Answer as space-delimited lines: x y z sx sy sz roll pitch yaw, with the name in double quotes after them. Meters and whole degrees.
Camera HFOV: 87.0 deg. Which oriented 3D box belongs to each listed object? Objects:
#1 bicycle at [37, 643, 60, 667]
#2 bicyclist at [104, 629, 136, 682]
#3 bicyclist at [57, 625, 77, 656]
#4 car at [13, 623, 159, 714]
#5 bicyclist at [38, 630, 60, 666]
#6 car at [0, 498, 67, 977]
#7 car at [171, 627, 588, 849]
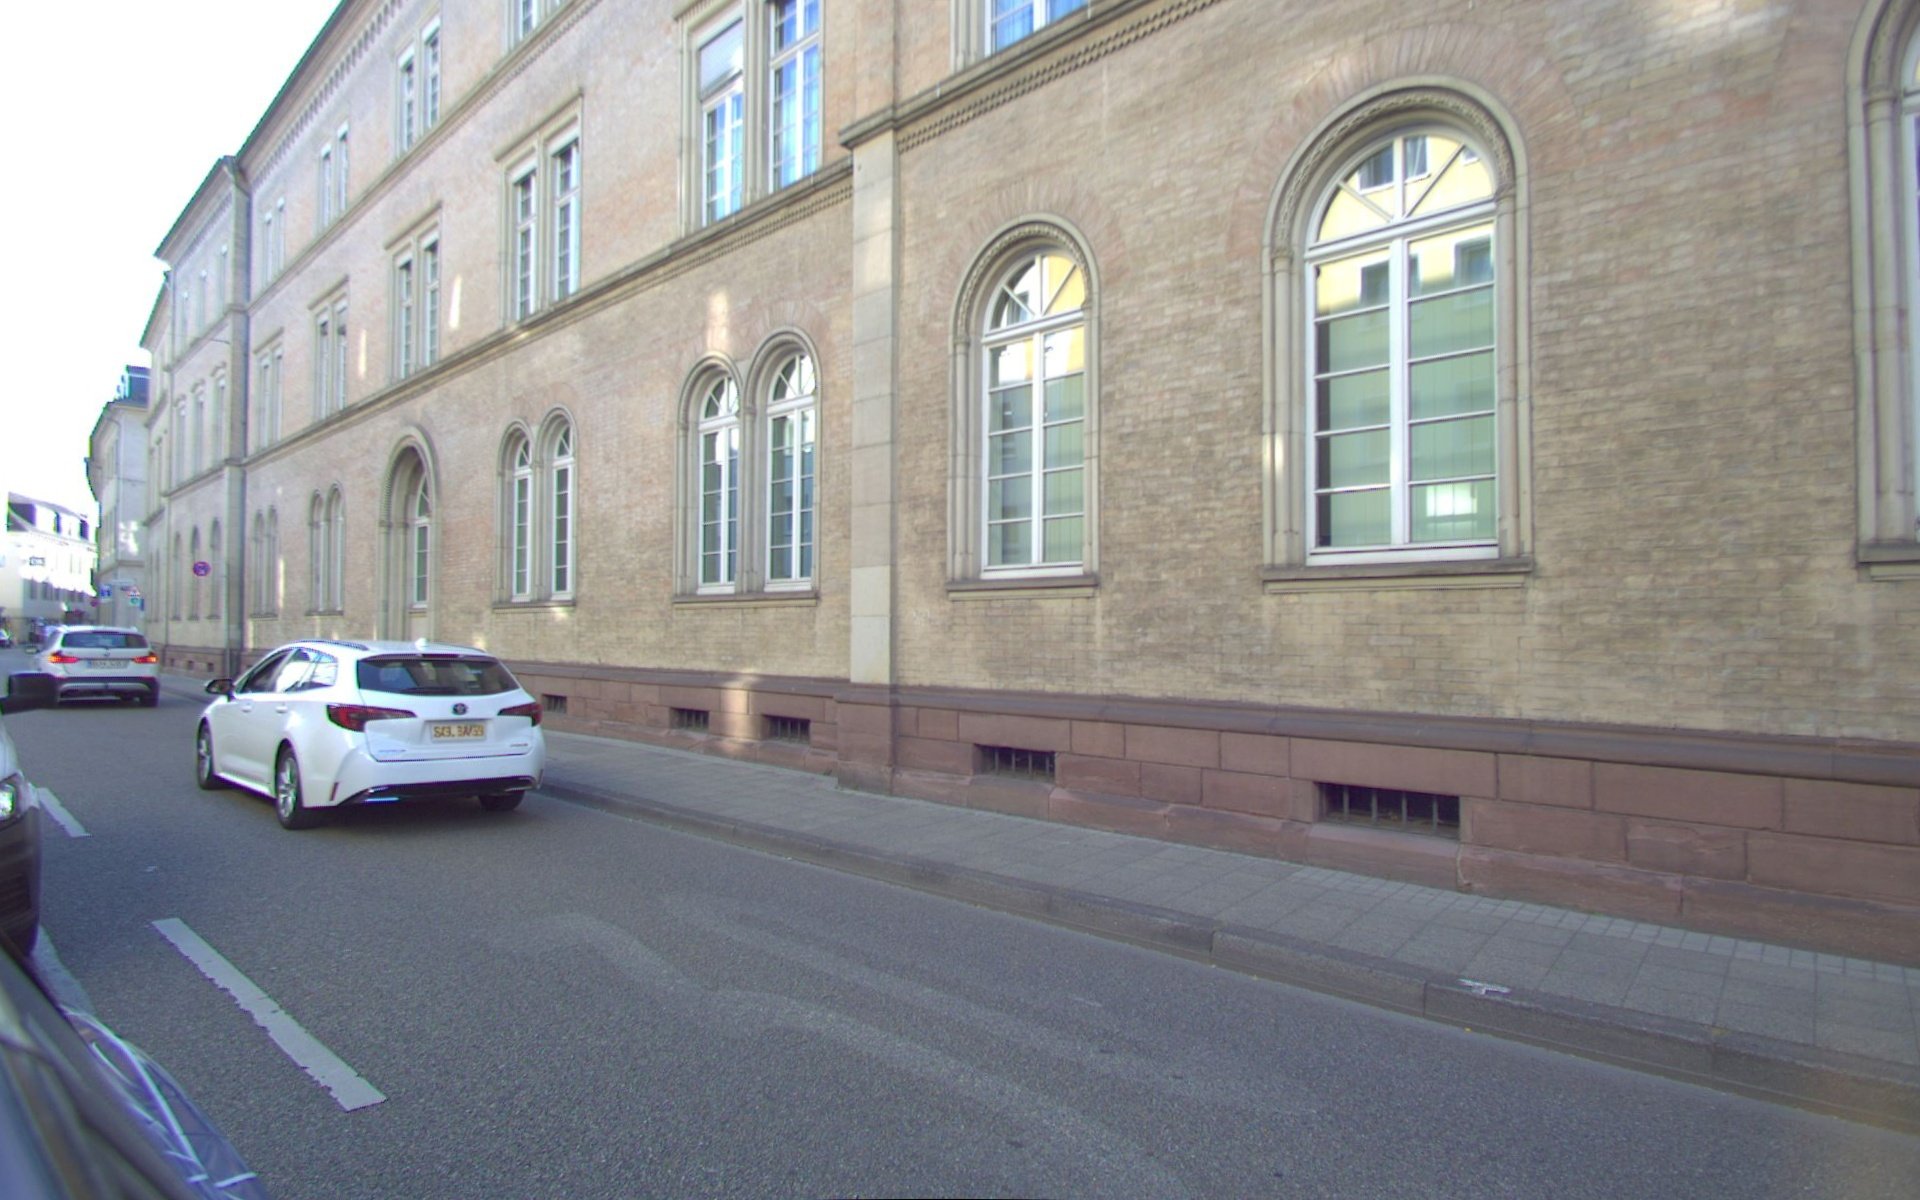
-40.833 2.456 45.352 0.642 1.014 1.809 5 -5 -41 "bicycle"
-23.163 1.519 27.910 0.579 1.454 0.596 -2 -3 45 "bicyclist"
-45.634 2.086 51.717 0.642 1.520 1.113 5 -5 -39 "bicyclist"
-17.229 1.304 19.889 4.275 1.595 1.667 -2 -5 43 "car"
-40.828 2.140 45.359 0.642 1.579 0.962 5 -5 -41 "bicyclist"
-6.188 0.576 5.132 5.338 1.850 1.795 -2 -3 41 "car"
-5.353 1.024 9.051 4.544 1.487 1.866 -1 -4 42 "car"
